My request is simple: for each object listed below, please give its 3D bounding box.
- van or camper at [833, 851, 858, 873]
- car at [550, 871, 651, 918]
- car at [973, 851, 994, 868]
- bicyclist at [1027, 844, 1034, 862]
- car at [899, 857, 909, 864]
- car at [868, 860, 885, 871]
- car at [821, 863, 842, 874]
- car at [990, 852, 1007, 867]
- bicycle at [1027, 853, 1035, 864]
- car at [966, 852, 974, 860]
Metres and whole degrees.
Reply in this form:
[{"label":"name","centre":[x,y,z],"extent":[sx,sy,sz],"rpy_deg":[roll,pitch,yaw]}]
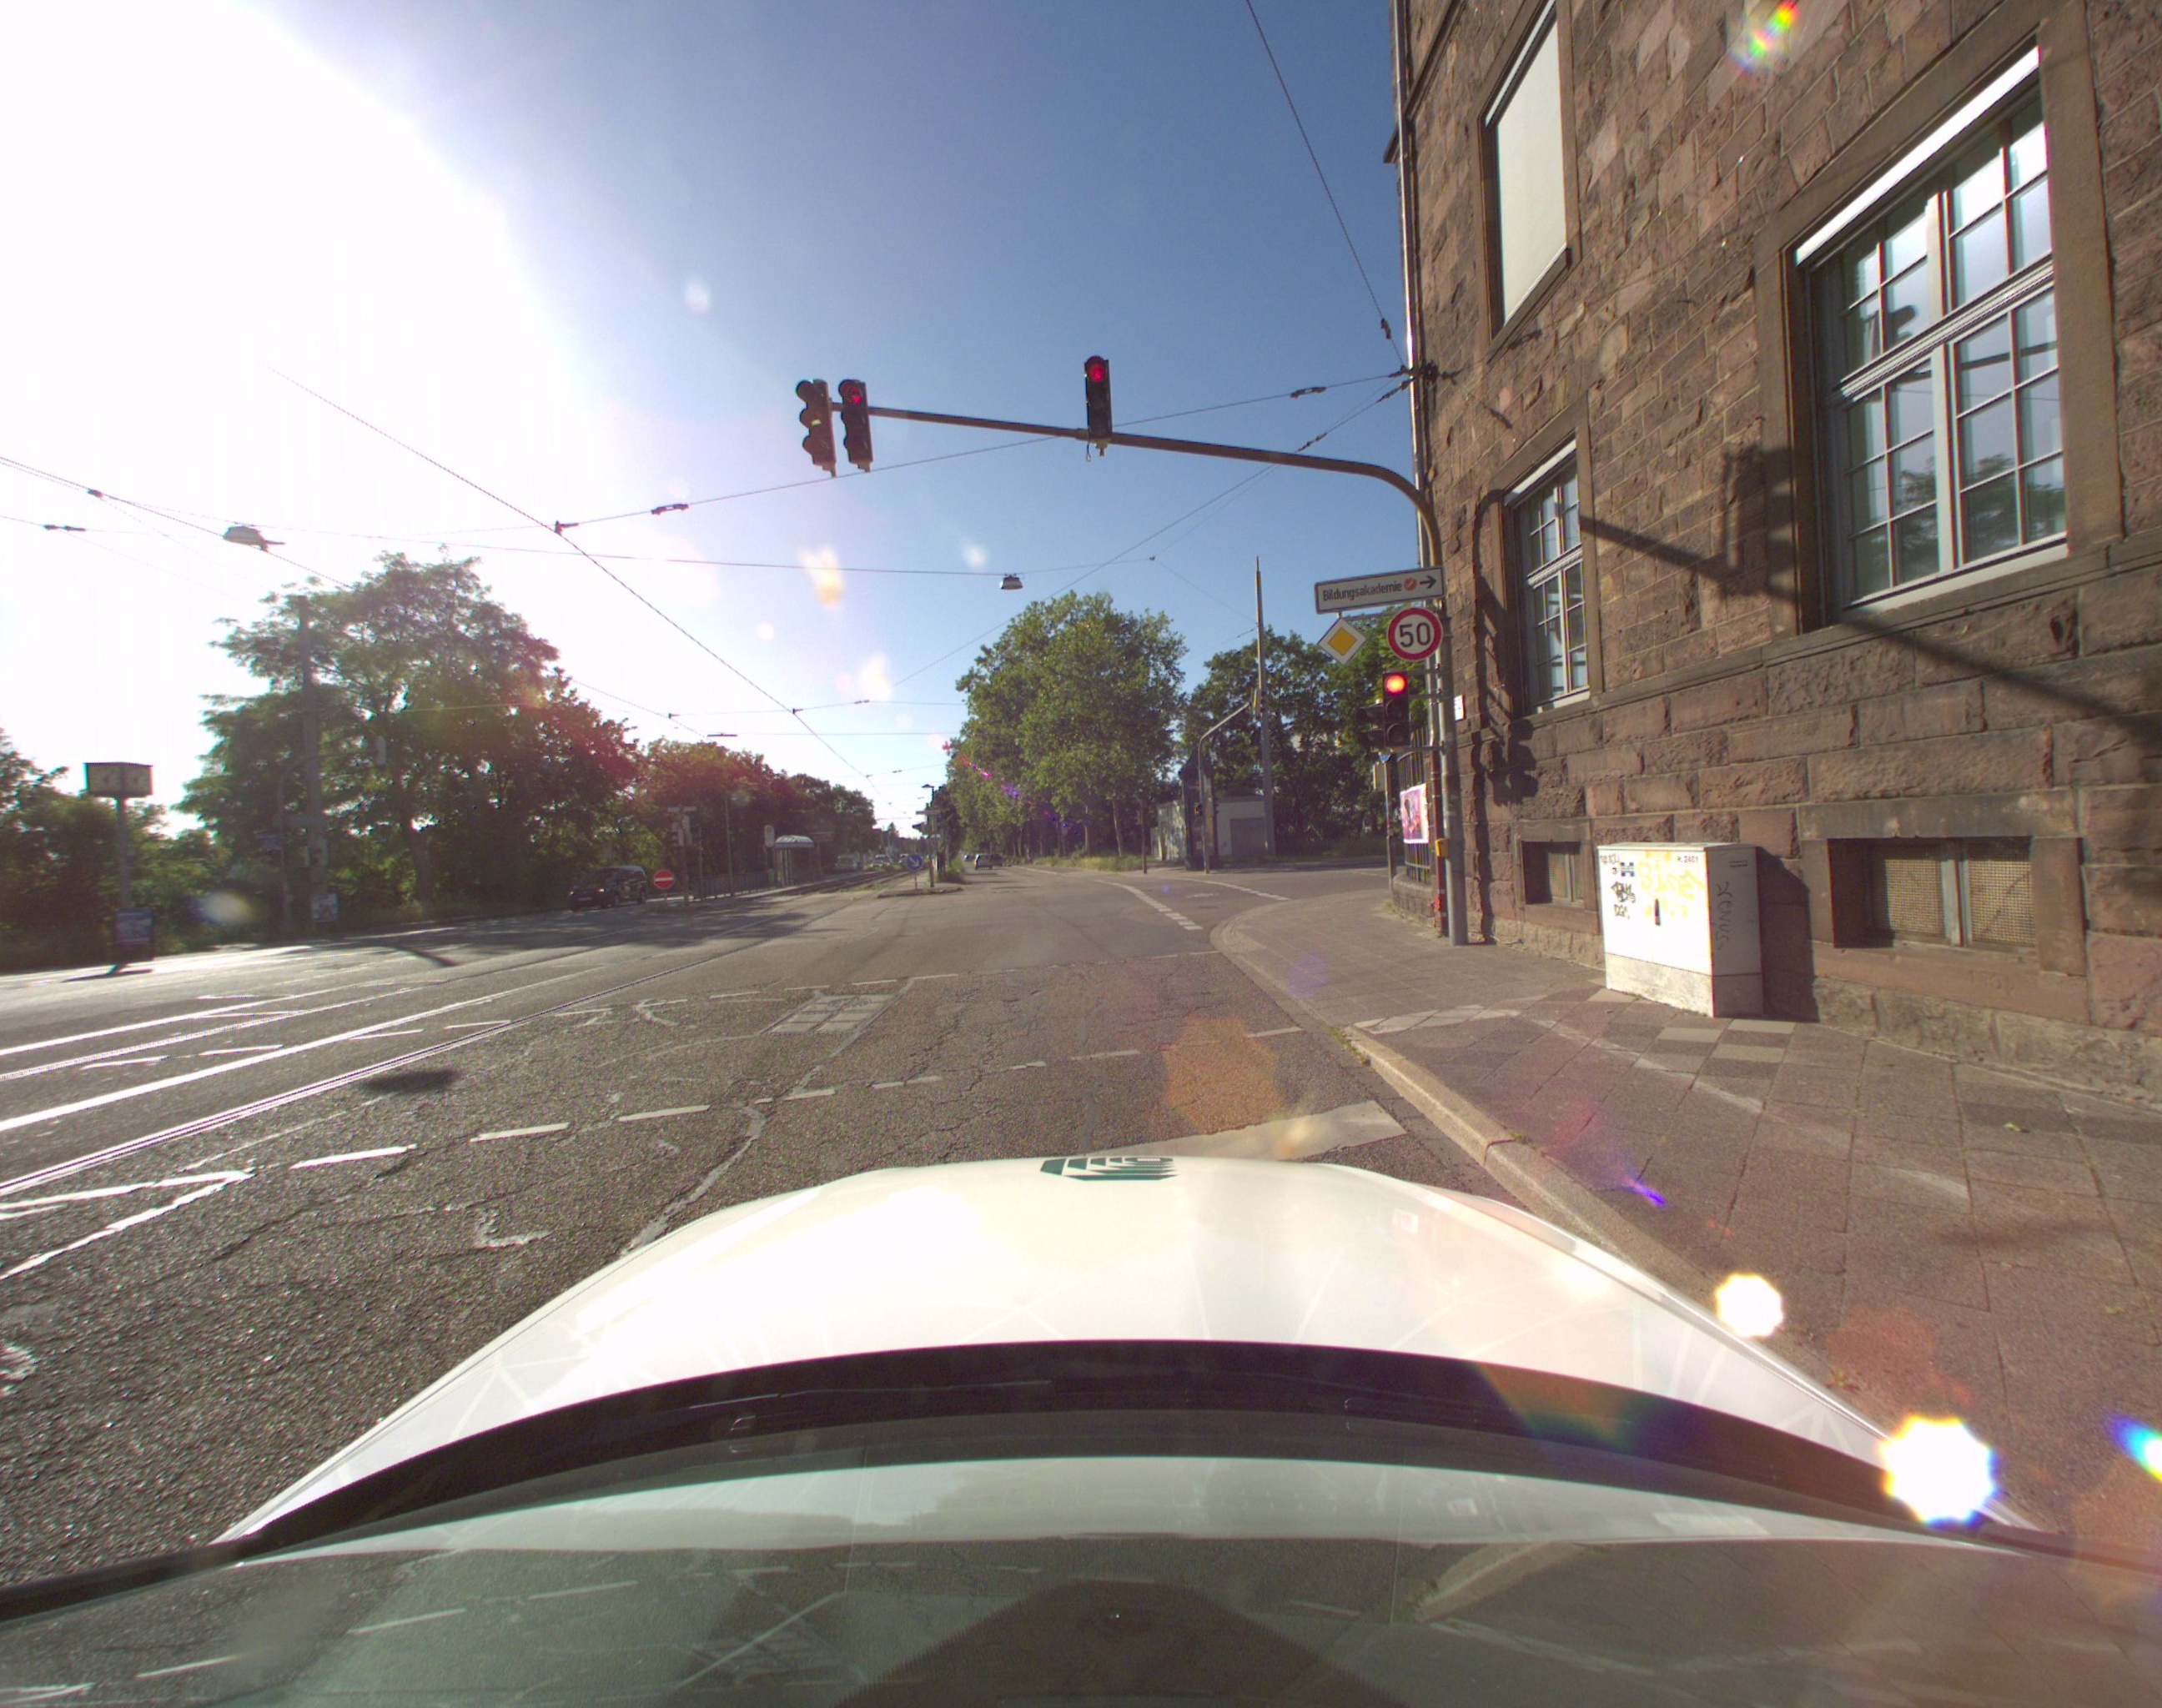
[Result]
[{"label":"van or camper","centre":[-35.846,1.246,124.256],"extent":[2.589,3.106,6.768],"rpy_deg":[-4,0,-9]},{"label":"car","centre":[-20.811,1.678,35.533],"extent":[1.994,1.767,5.014],"rpy_deg":[-4,0,-9]},{"label":"car","centre":[-9.135,0.524,76.061],"extent":[1.867,1.486,3.545],"rpy_deg":[-3,0,-8]},{"label":"bicyclist","centre":[-4.980,-0.106,79.918],"extent":[0.534,1.769,0.710],"rpy_deg":[-4,0,-11]},{"label":"car","centre":[-39.943,1.488,183.975],"extent":[1.994,1.469,4.361],"rpy_deg":[-3,0,-10]},{"label":"car","centre":[-30.695,1.694,122.453],"extent":[1.919,1.567,3.991],"rpy_deg":[-4,0,-7]},{"label":"car","centre":[-34.199,2.019,111.648],"extent":[1.919,1.266,3.991],"rpy_deg":[-4,0,-7]},{"label":"car","centre":[-9.607,0.619,94.300],"extent":[1.750,1.604,3.739],"rpy_deg":[-3,0,-8]},{"label":"bicycle","centre":[-4.947,0.446,79.929],"extent":[0.536,1.066,1.428],"rpy_deg":[-4,0,-10]},{"label":"car","centre":[-25.299,0.485,185.448],"extent":[1.750,1.604,3.569],"rpy_deg":[-4,1,-9]}]
